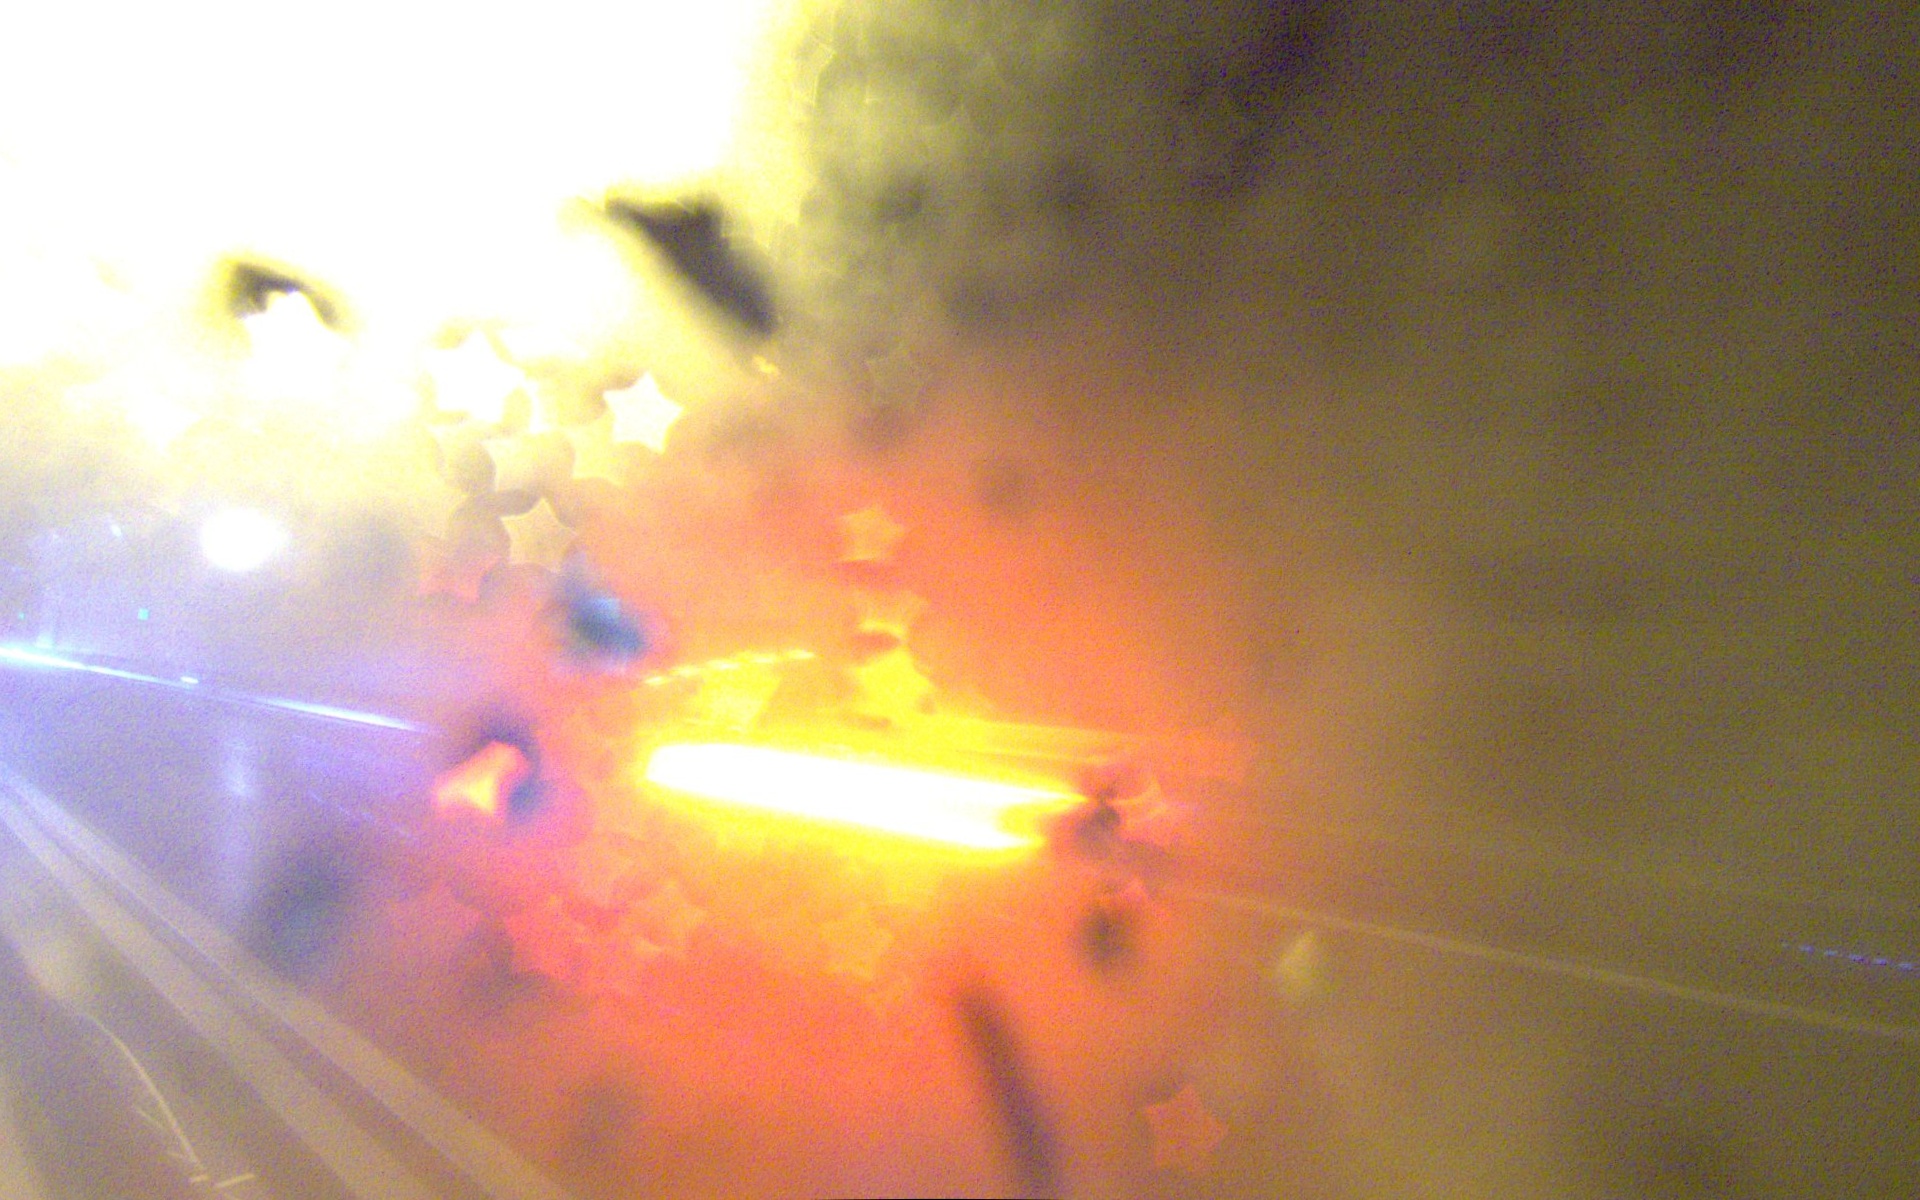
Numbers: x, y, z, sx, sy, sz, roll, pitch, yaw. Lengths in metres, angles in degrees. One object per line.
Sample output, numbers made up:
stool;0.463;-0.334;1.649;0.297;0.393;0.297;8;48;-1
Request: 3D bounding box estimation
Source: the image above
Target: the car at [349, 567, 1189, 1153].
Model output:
car;-1.110;0.689;4.575;3.813;1.540;1.738;-1;0;41
